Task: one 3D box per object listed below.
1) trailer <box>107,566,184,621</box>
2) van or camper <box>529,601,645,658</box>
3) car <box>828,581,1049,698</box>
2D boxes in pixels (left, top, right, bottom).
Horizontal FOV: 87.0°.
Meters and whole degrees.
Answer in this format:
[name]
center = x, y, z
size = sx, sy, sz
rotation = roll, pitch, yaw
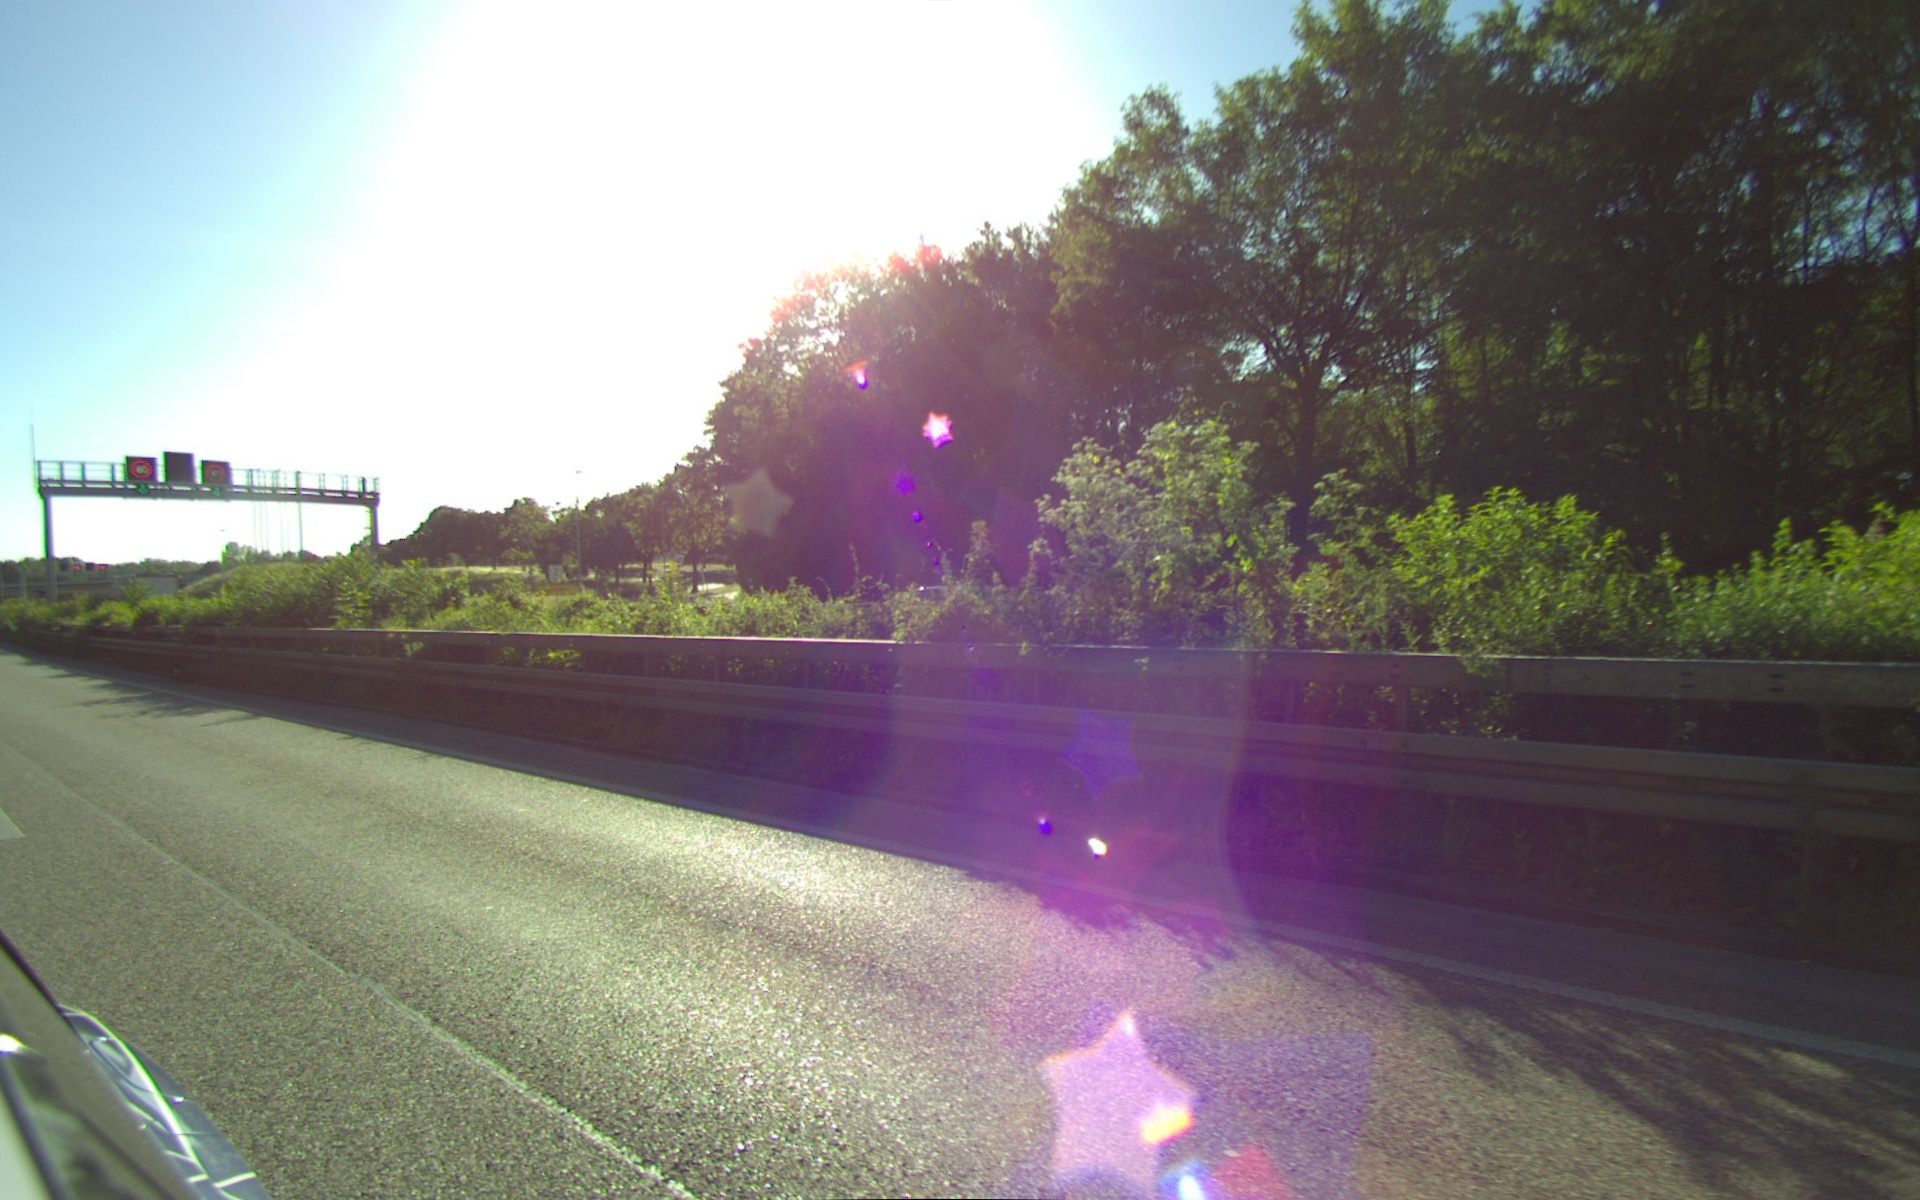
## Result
[trailer]
center = -64.721, -0.429, 80.247
size = 14.029, 4.018, 2.989
rotation = -1, 0, 44
[van or camper]
center = -14.798, 1.125, 39.909
size = 5.940, 2.029, 1.856
rotation = -1, 0, 44
[car]
center = -0.481, 0.691, 19.560
size = 3.999, 2.029, 1.973
rotation = -1, 0, 42
